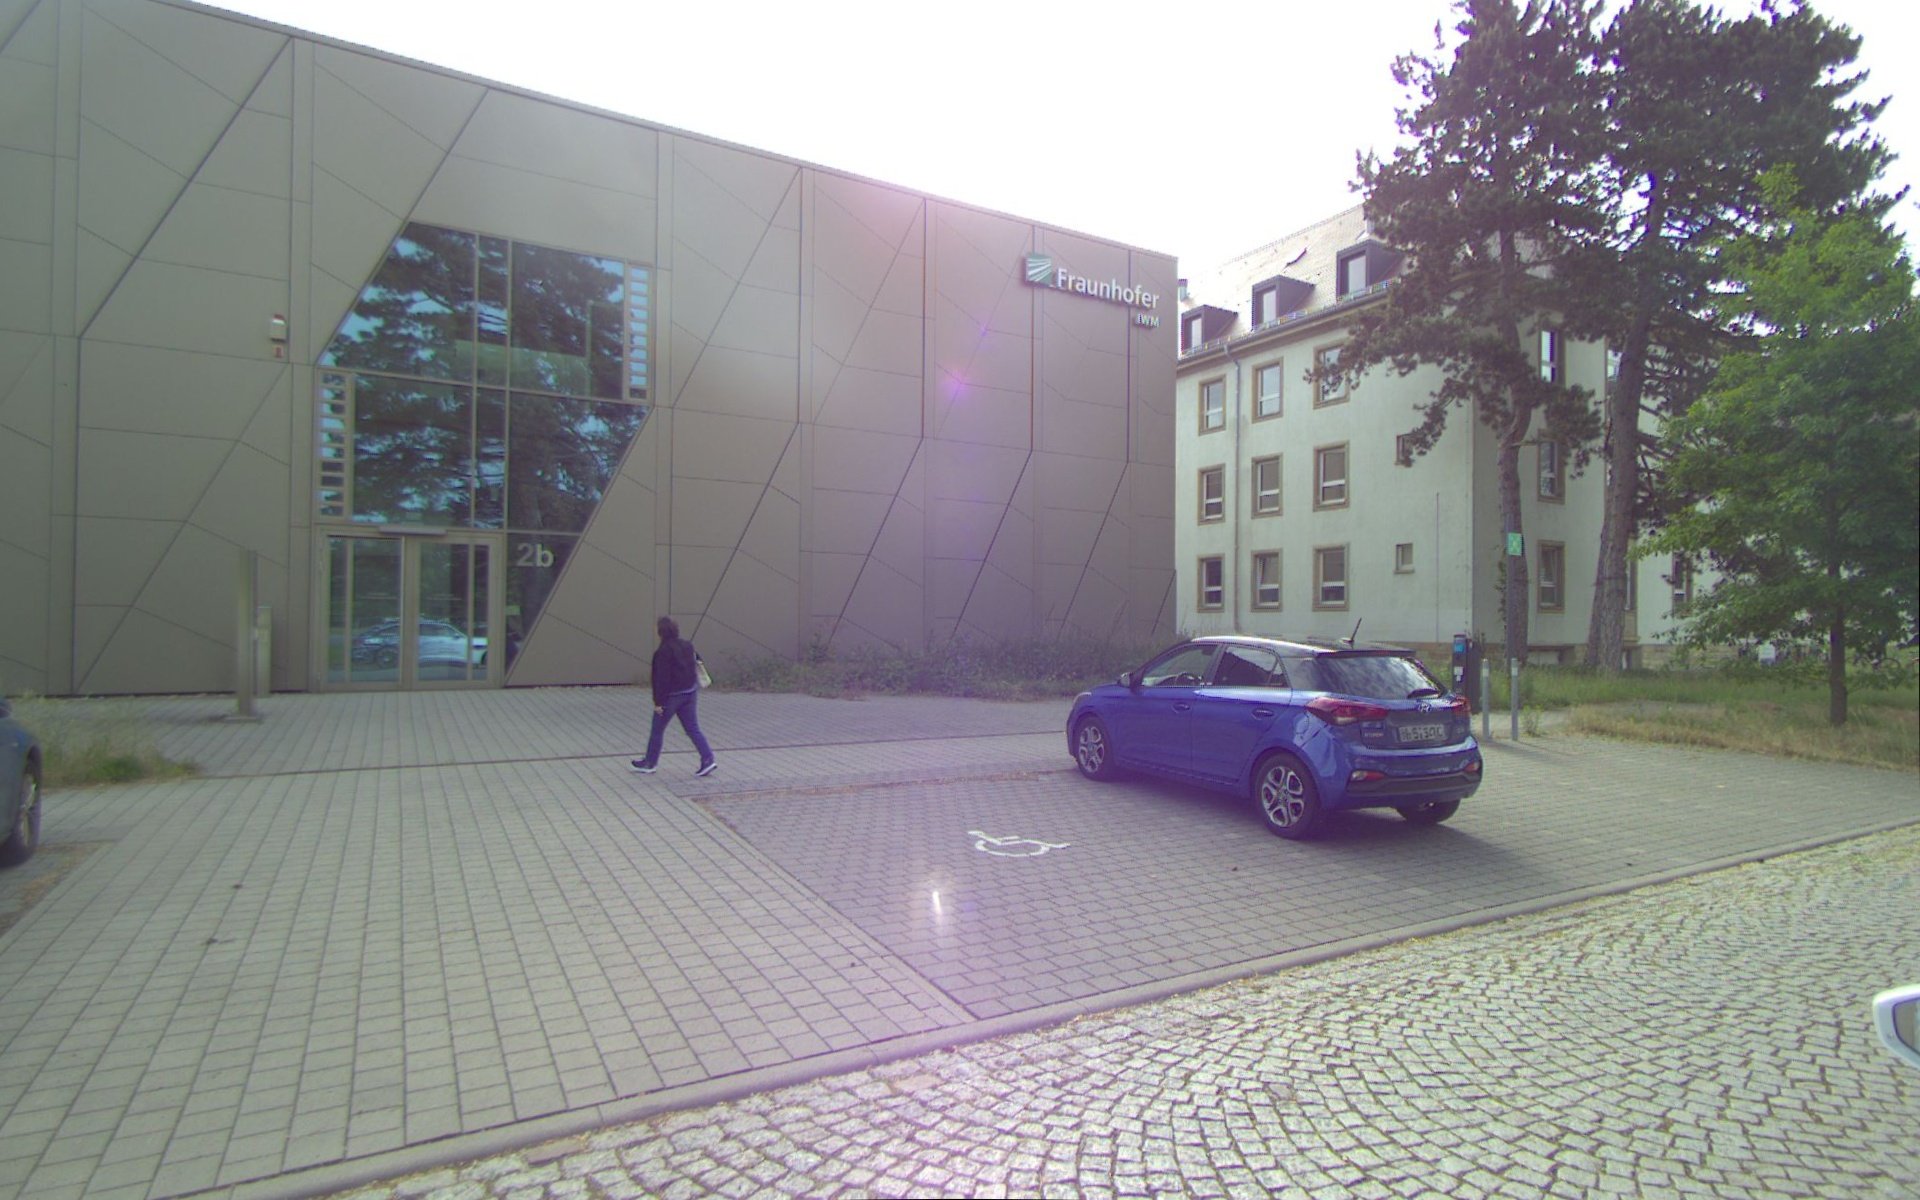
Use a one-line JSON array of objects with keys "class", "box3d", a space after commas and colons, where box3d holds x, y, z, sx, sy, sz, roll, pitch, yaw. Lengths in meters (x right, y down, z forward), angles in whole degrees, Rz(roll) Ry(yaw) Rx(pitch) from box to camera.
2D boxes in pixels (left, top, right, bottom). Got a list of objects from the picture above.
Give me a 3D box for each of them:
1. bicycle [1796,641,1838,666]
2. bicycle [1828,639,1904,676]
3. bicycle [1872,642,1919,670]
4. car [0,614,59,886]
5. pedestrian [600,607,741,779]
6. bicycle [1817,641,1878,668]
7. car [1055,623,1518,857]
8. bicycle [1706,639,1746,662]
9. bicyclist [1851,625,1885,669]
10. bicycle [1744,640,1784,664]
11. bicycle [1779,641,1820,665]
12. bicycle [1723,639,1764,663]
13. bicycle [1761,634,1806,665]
[{"class": "bicycle", "box3d": [38.752, 2.408, 45.393, 2.246, 1.090, 0.732, 1, -2, -30]}, {"class": "bicycle", "box3d": [36.544, 2.303, 40.549, 0.931, 1.405, 2.161, 2, -2, -39]}, {"class": "bicycle", "box3d": [39.346, 2.320, 41.840, 0.821, 1.090, 1.849, 1, -2, -27]}, {"class": "car", "box3d": [-5.496, 0.818, 4.283, 1.755, 1.447, 4.280, 1, 0, -32]}, {"class": "pedestrian", "box3d": [-2.690, 0.830, 9.397, 0.966, 1.514, 0.819, 0, -1, 15]}, {"class": "bicycle", "box3d": [38.404, 2.343, 43.468, 0.729, 1.090, 1.849, 1, -2, -27]}, {"class": "car", "box3d": [2.630, 1.017, 8.981, 1.828, 1.497, 3.752, 1, 0, -27]}, {"class": "bicycle", "box3d": [37.003, 2.430, 48.487, 2.246, 1.090, 0.732, 1, -2, -30]}, {"class": "bicyclist", "box3d": [36.610, 1.886, 40.498, 0.949, 1.719, 0.913, 2, -2, -40]}, {"class": "bicycle", "box3d": [38.026, 2.445, 47.495, 2.246, 1.090, 0.732, 1, -2, -30]}, {"class": "bicycle", "box3d": [38.375, 2.423, 45.913, 2.246, 1.090, 0.732, 1, -2, -30]}, {"class": "bicycle", "box3d": [37.295, 2.418, 47.811, 2.246, 1.090, 0.732, 1, -2, -30]}, {"class": "bicycle", "box3d": [38.320, 2.295, 46.743, 2.679, 1.404, 0.732, 1, -2, -30]}]
